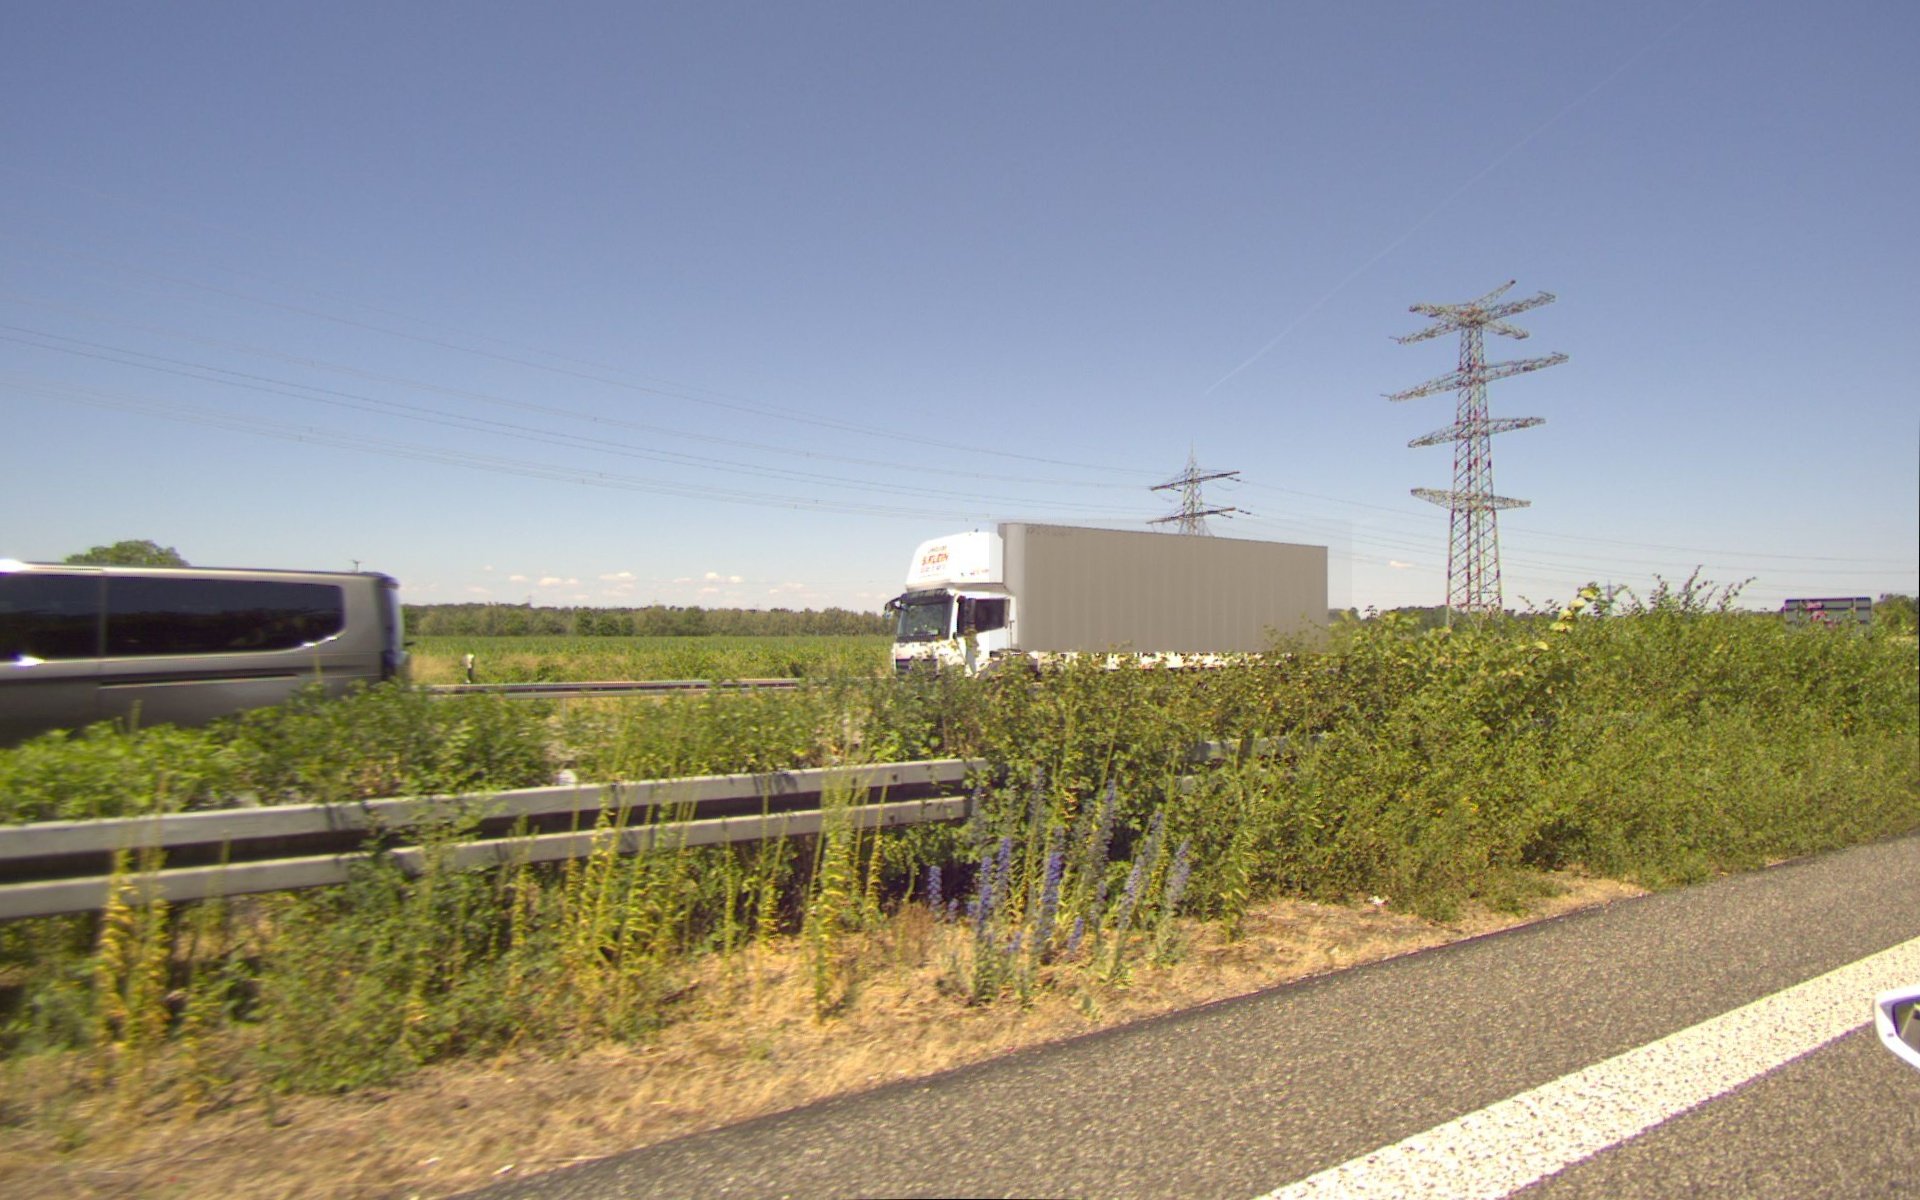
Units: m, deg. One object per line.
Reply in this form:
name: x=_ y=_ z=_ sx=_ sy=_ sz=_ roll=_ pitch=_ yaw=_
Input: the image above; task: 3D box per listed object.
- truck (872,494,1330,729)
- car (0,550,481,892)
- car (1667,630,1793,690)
truck: x=3.407 y=0.333 z=22.001 sx=10.444 sy=4.231 sz=2.860 roll=1 pitch=-2 yaw=-30
car: x=-6.187 y=0.748 z=6.904 sx=5.060 sy=2.040 sz=1.983 roll=1 pitch=-2 yaw=-32
car: x=27.734 y=2.118 z=36.149 sx=4.936 sy=1.991 sz=1.889 roll=1 pitch=-1 yaw=-30
